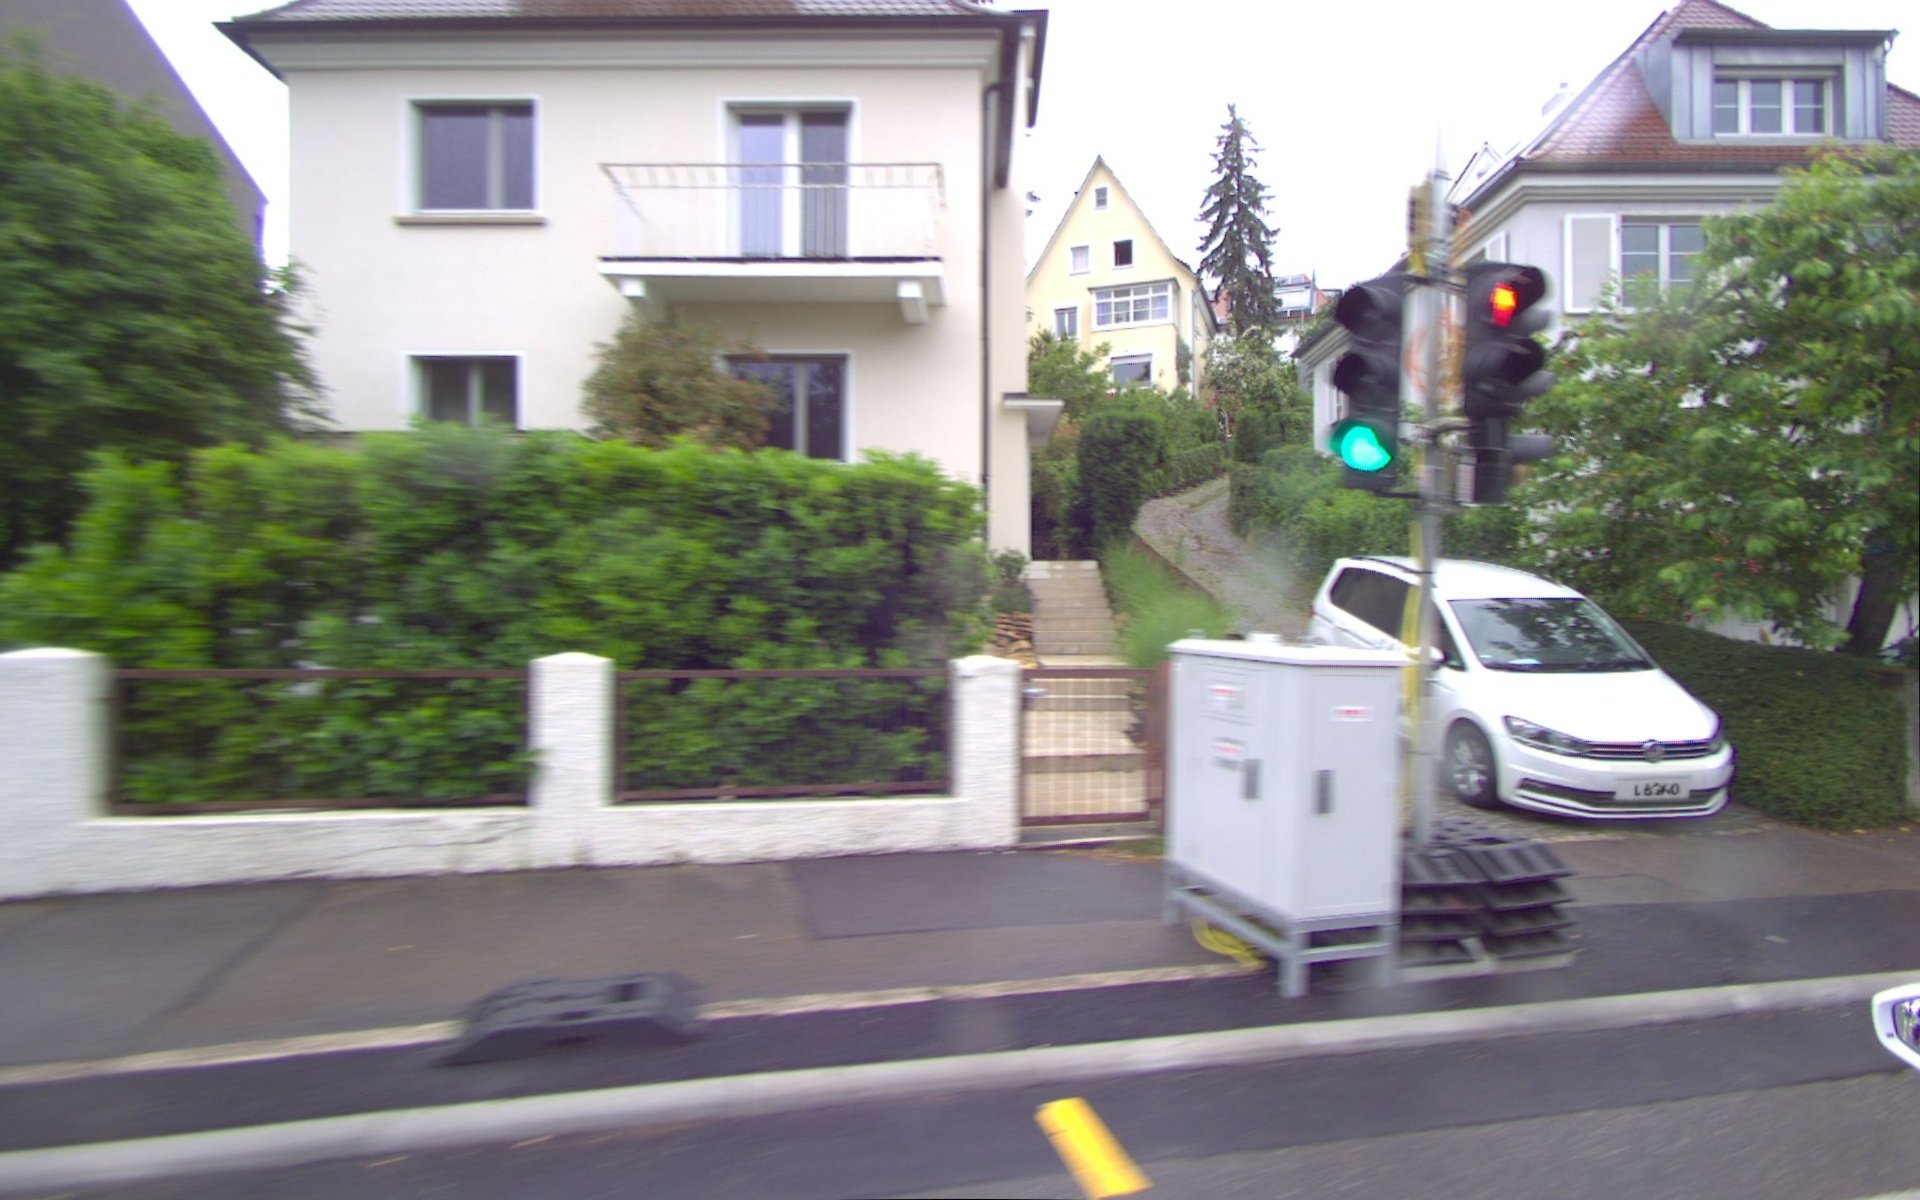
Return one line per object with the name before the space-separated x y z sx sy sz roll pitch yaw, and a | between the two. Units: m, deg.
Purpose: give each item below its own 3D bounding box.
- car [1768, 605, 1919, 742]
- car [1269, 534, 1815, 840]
car | 11.830 0.866 11.391 1.904 1.546 3.997 2 -1 -5
car | 4.706 0.455 9.300 1.828 1.640 4.973 1 9 -3
